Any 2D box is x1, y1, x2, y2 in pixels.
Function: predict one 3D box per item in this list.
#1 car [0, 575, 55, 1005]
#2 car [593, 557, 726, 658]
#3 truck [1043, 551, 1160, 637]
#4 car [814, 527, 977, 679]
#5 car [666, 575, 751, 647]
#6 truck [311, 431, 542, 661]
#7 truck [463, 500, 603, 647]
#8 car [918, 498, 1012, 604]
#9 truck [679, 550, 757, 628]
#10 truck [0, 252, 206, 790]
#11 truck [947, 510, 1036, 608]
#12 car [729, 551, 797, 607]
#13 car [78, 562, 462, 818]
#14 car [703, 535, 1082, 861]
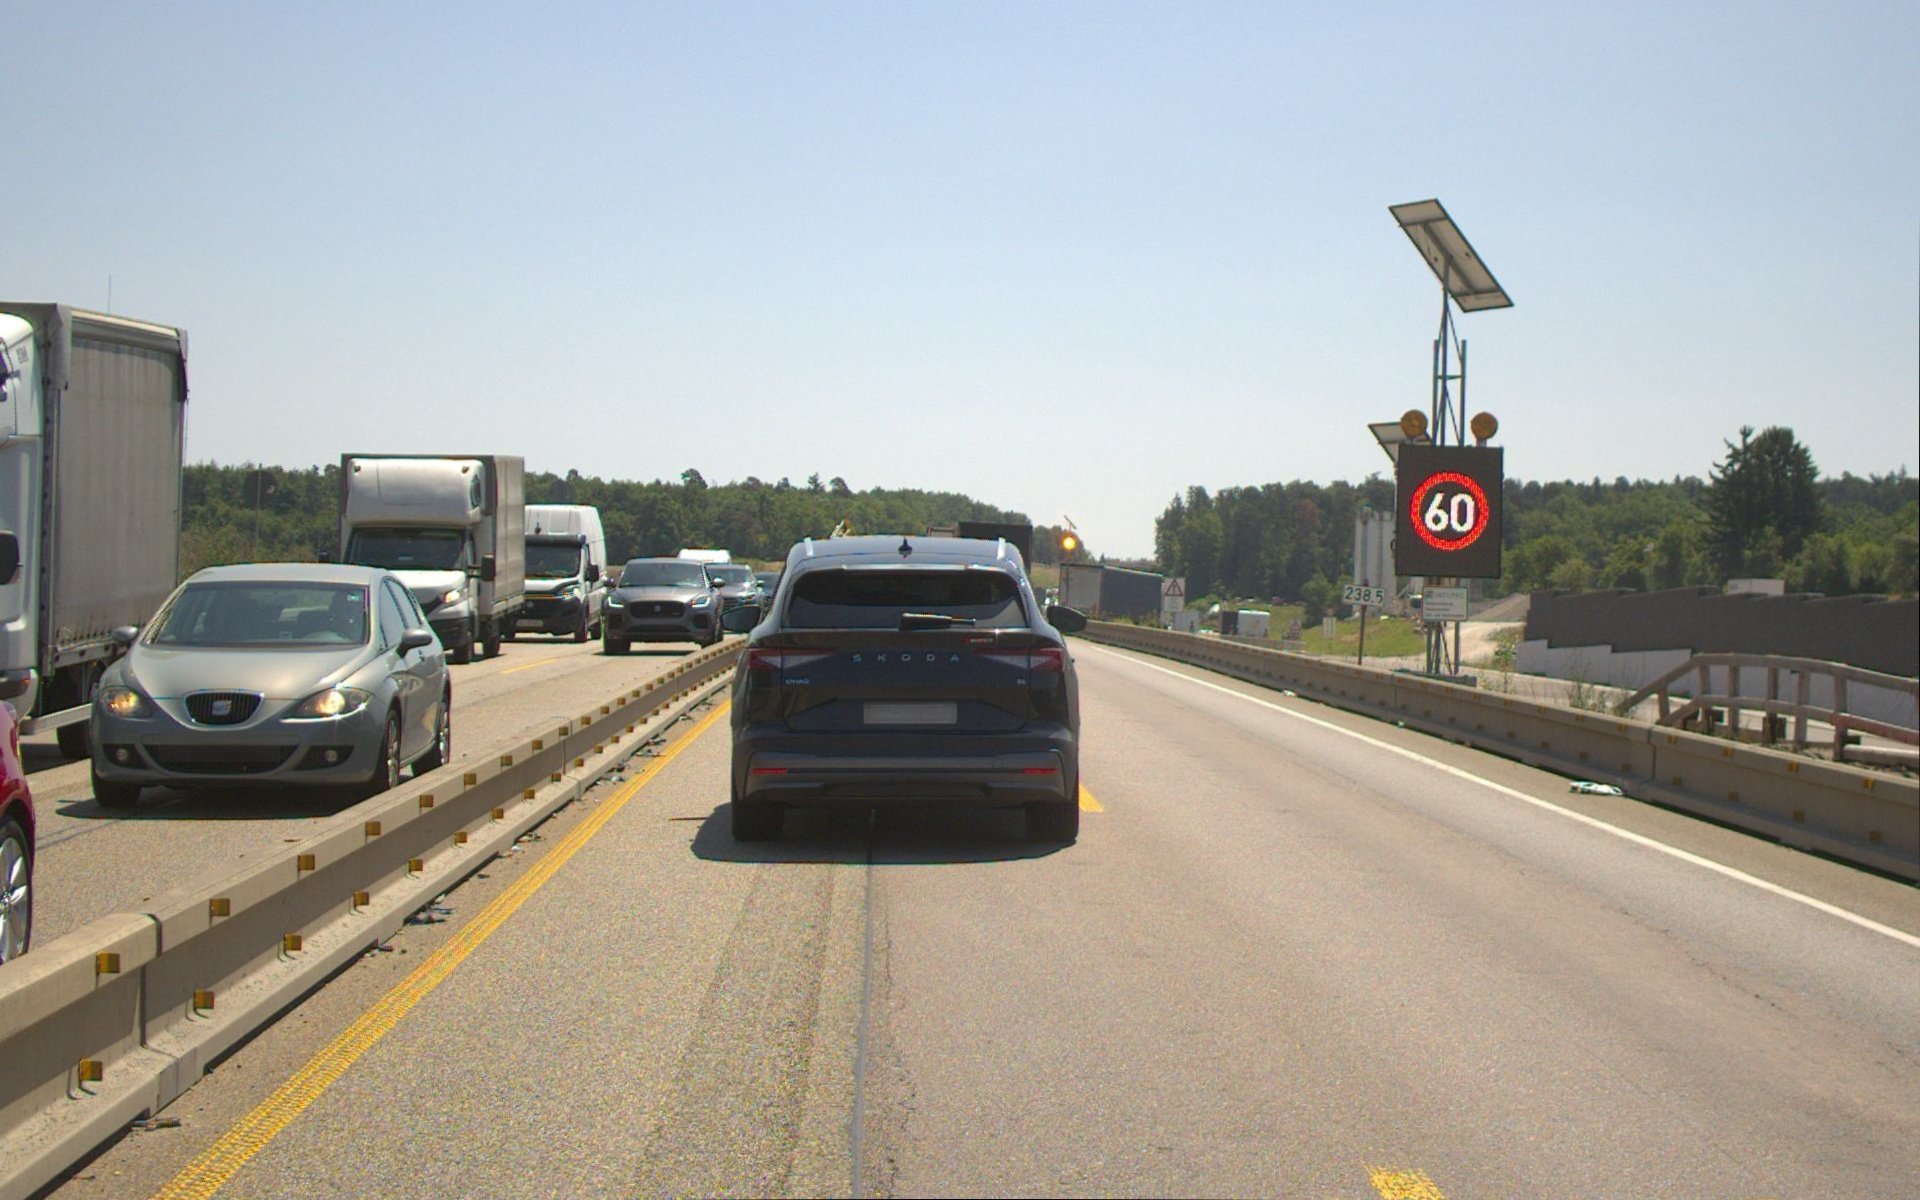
[{"bbox_3d":[-3.985,0.652,10.194,1.649,1.429,4.000,1,1,-2],"label":"car"},{"bbox_3d":[-5.144,0.095,59.343,1.942,1.653,4.745,0,1,-1],"label":"car"},{"bbox_3d":[8.266,-0.291,199.109,3.479,4.206,10.365,7,0,19],"label":"truck"},{"bbox_3d":[-0.896,0.037,45.784,1.993,1.838,4.000,3,0,-2],"label":"car"},{"bbox_3d":[-6.015,0.249,82.167,1.938,1.605,4.001,1,1,-4],"label":"car"},{"bbox_3d":[-8.237,-0.850,53.956,2.495,3.280,8.118,1,1,-1],"label":"truck"},{"bbox_3d":[-8.535,-0.558,69.276,2.239,2.777,6.493,1,1,-3],"label":"truck"},{"bbox_3d":[0.277,-2.032,147.288,3.436,4.087,9.196,6,0,1],"label":"car"},{"bbox_3d":[-9.163,-0.434,130.737,2.480,2.814,8.129,1,0,-1],"label":"truck"},{"bbox_3d":[-7.268,-0.552,23.958,2.389,3.373,7.715,2,1,-1],"label":"truck"},{"bbox_3d":[0.947,-1.283,107.573,2.673,2.935,5.620,1,1,0],"label":"truck"},{"bbox_3d":[-6.007,-0.666,105.134,1.845,1.635,4.000,1,1,-1],"label":"car"},{"bbox_3d":[-4.232,0.490,21.673,1.681,1.424,4.202,1,1,-2],"label":"car"},{"bbox_3d":[-0.345,0.450,19.016,1.842,1.576,4.000,1,1,0],"label":"car"}]
